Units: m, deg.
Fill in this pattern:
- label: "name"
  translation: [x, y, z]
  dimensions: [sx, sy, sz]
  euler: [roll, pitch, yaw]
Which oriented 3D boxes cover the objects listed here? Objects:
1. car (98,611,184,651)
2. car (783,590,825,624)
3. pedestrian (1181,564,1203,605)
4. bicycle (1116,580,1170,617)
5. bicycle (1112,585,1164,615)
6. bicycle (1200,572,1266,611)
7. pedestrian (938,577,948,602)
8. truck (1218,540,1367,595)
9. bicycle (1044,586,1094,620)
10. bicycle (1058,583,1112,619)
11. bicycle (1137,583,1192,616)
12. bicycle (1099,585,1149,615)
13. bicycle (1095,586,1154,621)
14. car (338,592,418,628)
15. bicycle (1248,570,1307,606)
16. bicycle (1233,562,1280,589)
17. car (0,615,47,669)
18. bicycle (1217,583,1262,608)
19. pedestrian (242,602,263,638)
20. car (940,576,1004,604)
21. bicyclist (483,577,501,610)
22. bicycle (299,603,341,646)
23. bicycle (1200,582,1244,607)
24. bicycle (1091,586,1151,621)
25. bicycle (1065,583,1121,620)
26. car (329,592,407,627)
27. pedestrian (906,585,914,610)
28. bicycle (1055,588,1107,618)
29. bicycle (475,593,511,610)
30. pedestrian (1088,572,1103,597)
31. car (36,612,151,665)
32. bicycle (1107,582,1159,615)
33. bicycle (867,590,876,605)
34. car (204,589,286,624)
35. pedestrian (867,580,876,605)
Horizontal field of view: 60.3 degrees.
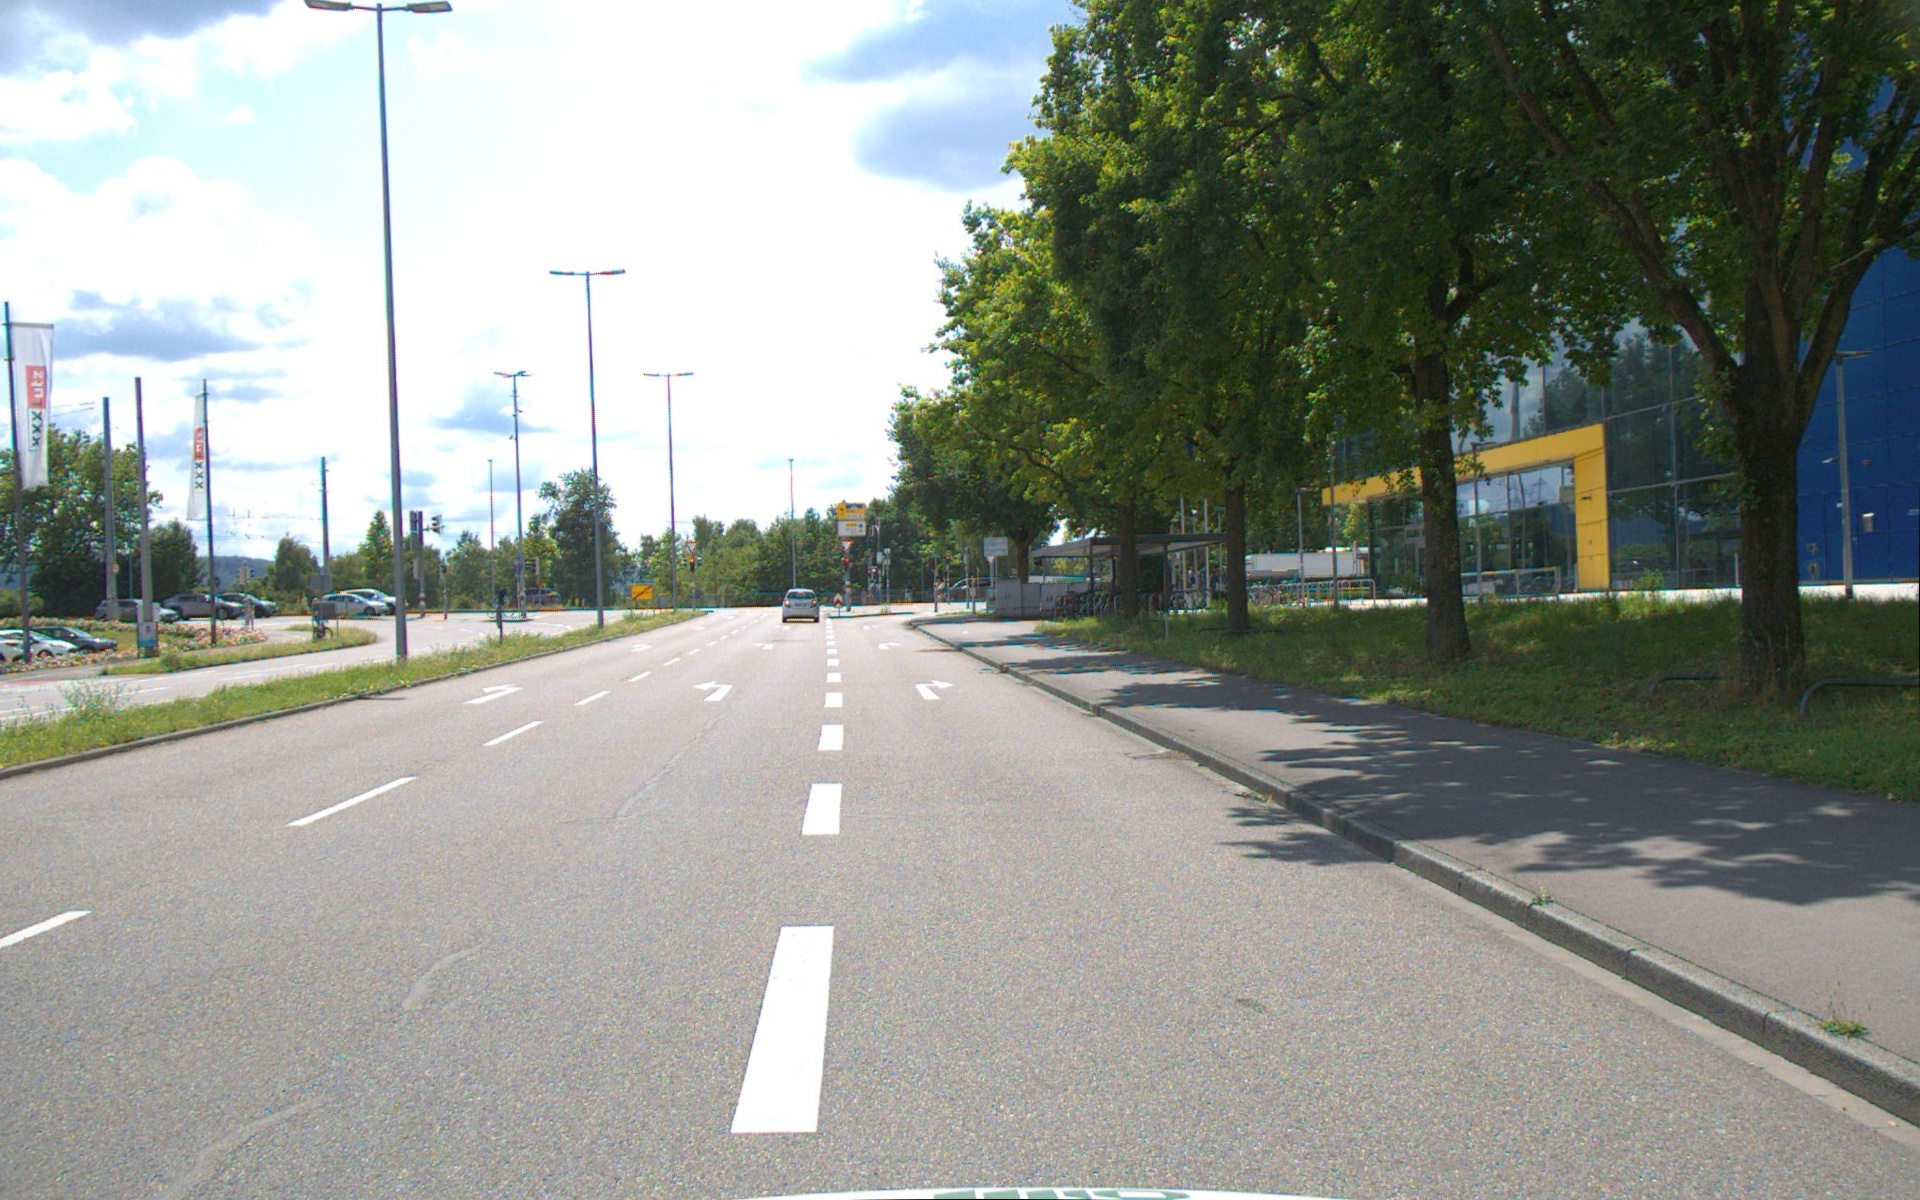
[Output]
- label: "car"
  translation: [-46.217, 1.748, 93.370]
  dimensions: [3.902, 2.048, 2.002]
  euler: [-3, 1, 12]
- label: "car"
  translation: [-7.238, 0.302, 76.870]
  dimensions: [1.857, 1.495, 3.830]
  euler: [0, 1, -4]
- label: "pedestrian"
  translation: [11.320, -0.759, 80.693]
  dimensions: [0.986, 1.935, 0.975]
  euler: [-2, -1, 9]
- label: "bicycle"
  translation: [6.626, -0.061, 59.962]
  dimensions: [1.828, 1.253, 0.423]
  euler: [-3, 0, -10]
- label: "bicycle"
  translation: [6.573, 0.000, 61.186]
  dimensions: [1.828, 1.012, 0.423]
  euler: [-3, -1, -10]
- label: "bicycle"
  translation: [8.726, -0.268, 52.973]
  dimensions: [1.972, 1.127, 0.575]
  euler: [-4, 0, 34]
- label: "pedestrian"
  translation: [-1.208, -0.746, 120.277]
  dimensions: [0.662, 1.778, 0.637]
  euler: [-2, 2, -3]
- label: "truck"
  translation: [27.646, -2.716, 137.835]
  dimensions: [11.724, 4.176, 2.949]
  euler: [-2, 0, -5]
- label: "bicycle"
  translation: [4.260, 0.110, 64.649]
  dimensions: [1.828, 1.208, 0.423]
  euler: [-3, 1, -10]
- label: "bicycle"
  translation: [4.521, 0.027, 59.724]
  dimensions: [1.828, 1.208, 0.423]
  euler: [-3, 0, -10]
- label: "bicycle"
  translation: [7.156, -0.026, 57.900]
  dimensions: [1.828, 1.012, 0.423]
  euler: [-4, -1, -10]
- label: "bicycle"
  translation: [6.316, -0.013, 63.734]
  dimensions: [1.825, 1.052, 0.423]
  euler: [-3, 1, -4]
- label: "bicycle"
  translation: [5.333, 0.108, 53.623]
  dimensions: [1.828, 1.012, 0.423]
  euler: [-4, 1, -10]
- label: "car"
  translation: [-36.134, 0.590, 102.737]
  dimensions: [4.265, 2.024, 1.998]
  euler: [-2, 0, -6]
- label: "bicycle"
  translation: [12.235, -0.454, 63.825]
  dimensions: [2.095, 1.251, 0.721]
  euler: [-3, 0, 5]
- label: "bicycle"
  translation: [12.328, -1.006, 68.676]
  dimensions: [1.828, 1.012, 0.423]
  euler: [-4, -1, -10]
- label: "car"
  translation: [-38.660, 1.725, 65.048]
  dimensions: [4.265, 2.024, 1.998]
  euler: [-2, 0, -6]
- label: "bicycle"
  translation: [11.937, -0.195, 70.662]
  dimensions: [1.827, 1.012, 0.464]
  euler: [-2, 0, -9]
- label: "pedestrian"
  translation: [-36.491, 1.023, 85.314]
  dimensions: [0.856, 1.870, 0.789]
  euler: [1, -1, -33]
- label: "car"
  translation: [0.898, -0.750, 125.151]
  dimensions: [4.561, 1.852, 1.998]
  euler: [-2, 0, -5]
- label: "bicyclist"
  translation: [-27.600, -0.394, 97.586]
  dimensions: [0.903, 1.878, 0.610]
  euler: [-1, 1, -5]
- label: "bicycle"
  translation: [-26.403, 1.000, 68.245]
  dimensions: [0.997, 1.704, 2.047]
  euler: [-3, 1, -4]
- label: "bicycle"
  translation: [11.605, -0.254, 73.320]
  dimensions: [1.825, 1.012, 0.423]
  euler: [-3, 1, -3]
- label: "bicycle"
  translation: [5.262, 0.112, 54.108]
  dimensions: [1.828, 1.012, 0.423]
  euler: [-4, 1, -10]
- label: "bicycle"
  translation: [4.628, 0.050, 57.500]
  dimensions: [1.858, 1.190, 0.423]
  euler: [-3, 0, -4]
- label: "car"
  translation: [-37.791, 0.608, 105.688]
  dimensions: [4.265, 2.024, 1.998]
  euler: [-2, 0, -6]
- label: "pedestrian"
  translation: [-3.517, -0.175, 116.784]
  dimensions: [0.512, 1.751, 0.730]
  euler: [-3, 0, -1]
- label: "bicycle"
  translation: [4.484, 0.108, 61.167]
  dimensions: [1.828, 1.012, 0.423]
  euler: [-3, 0, -10]
- label: "bicycle"
  translation: [-27.547, 0.090, 97.584]
  dimensions: [1.977, 1.016, 0.621]
  euler: [0, 0, -5]
- label: "pedestrian"
  translation: [10.022, -1.165, 122.169]
  dimensions: [0.909, 1.839, 0.735]
  euler: [-2, 0, -6]
- label: "car"
  translation: [-37.012, 1.626, 70.775]
  dimensions: [3.922, 2.049, 1.992]
  euler: [-2, 0, -16]
- label: "bicycle"
  translation: [6.467, -0.055, 61.828]
  dimensions: [1.828, 1.135, 0.423]
  euler: [-3, 0, -10]
- label: "bicycle"
  translation: [-6.518, -0.202, 121.323]
  dimensions: [0.607, 1.106, 1.721]
  euler: [-2, 1, -3]
- label: "car"
  translation: [-45.330, 0.422, 104.979]
  dimensions: [4.265, 2.024, 1.998]
  euler: [-2, 0, -6]
- label: "pedestrian"
  translation: [-6.524, -0.559, 121.286]
  dimensions: [0.599, 1.799, 0.672]
  euler: [-2, 0, -3]
